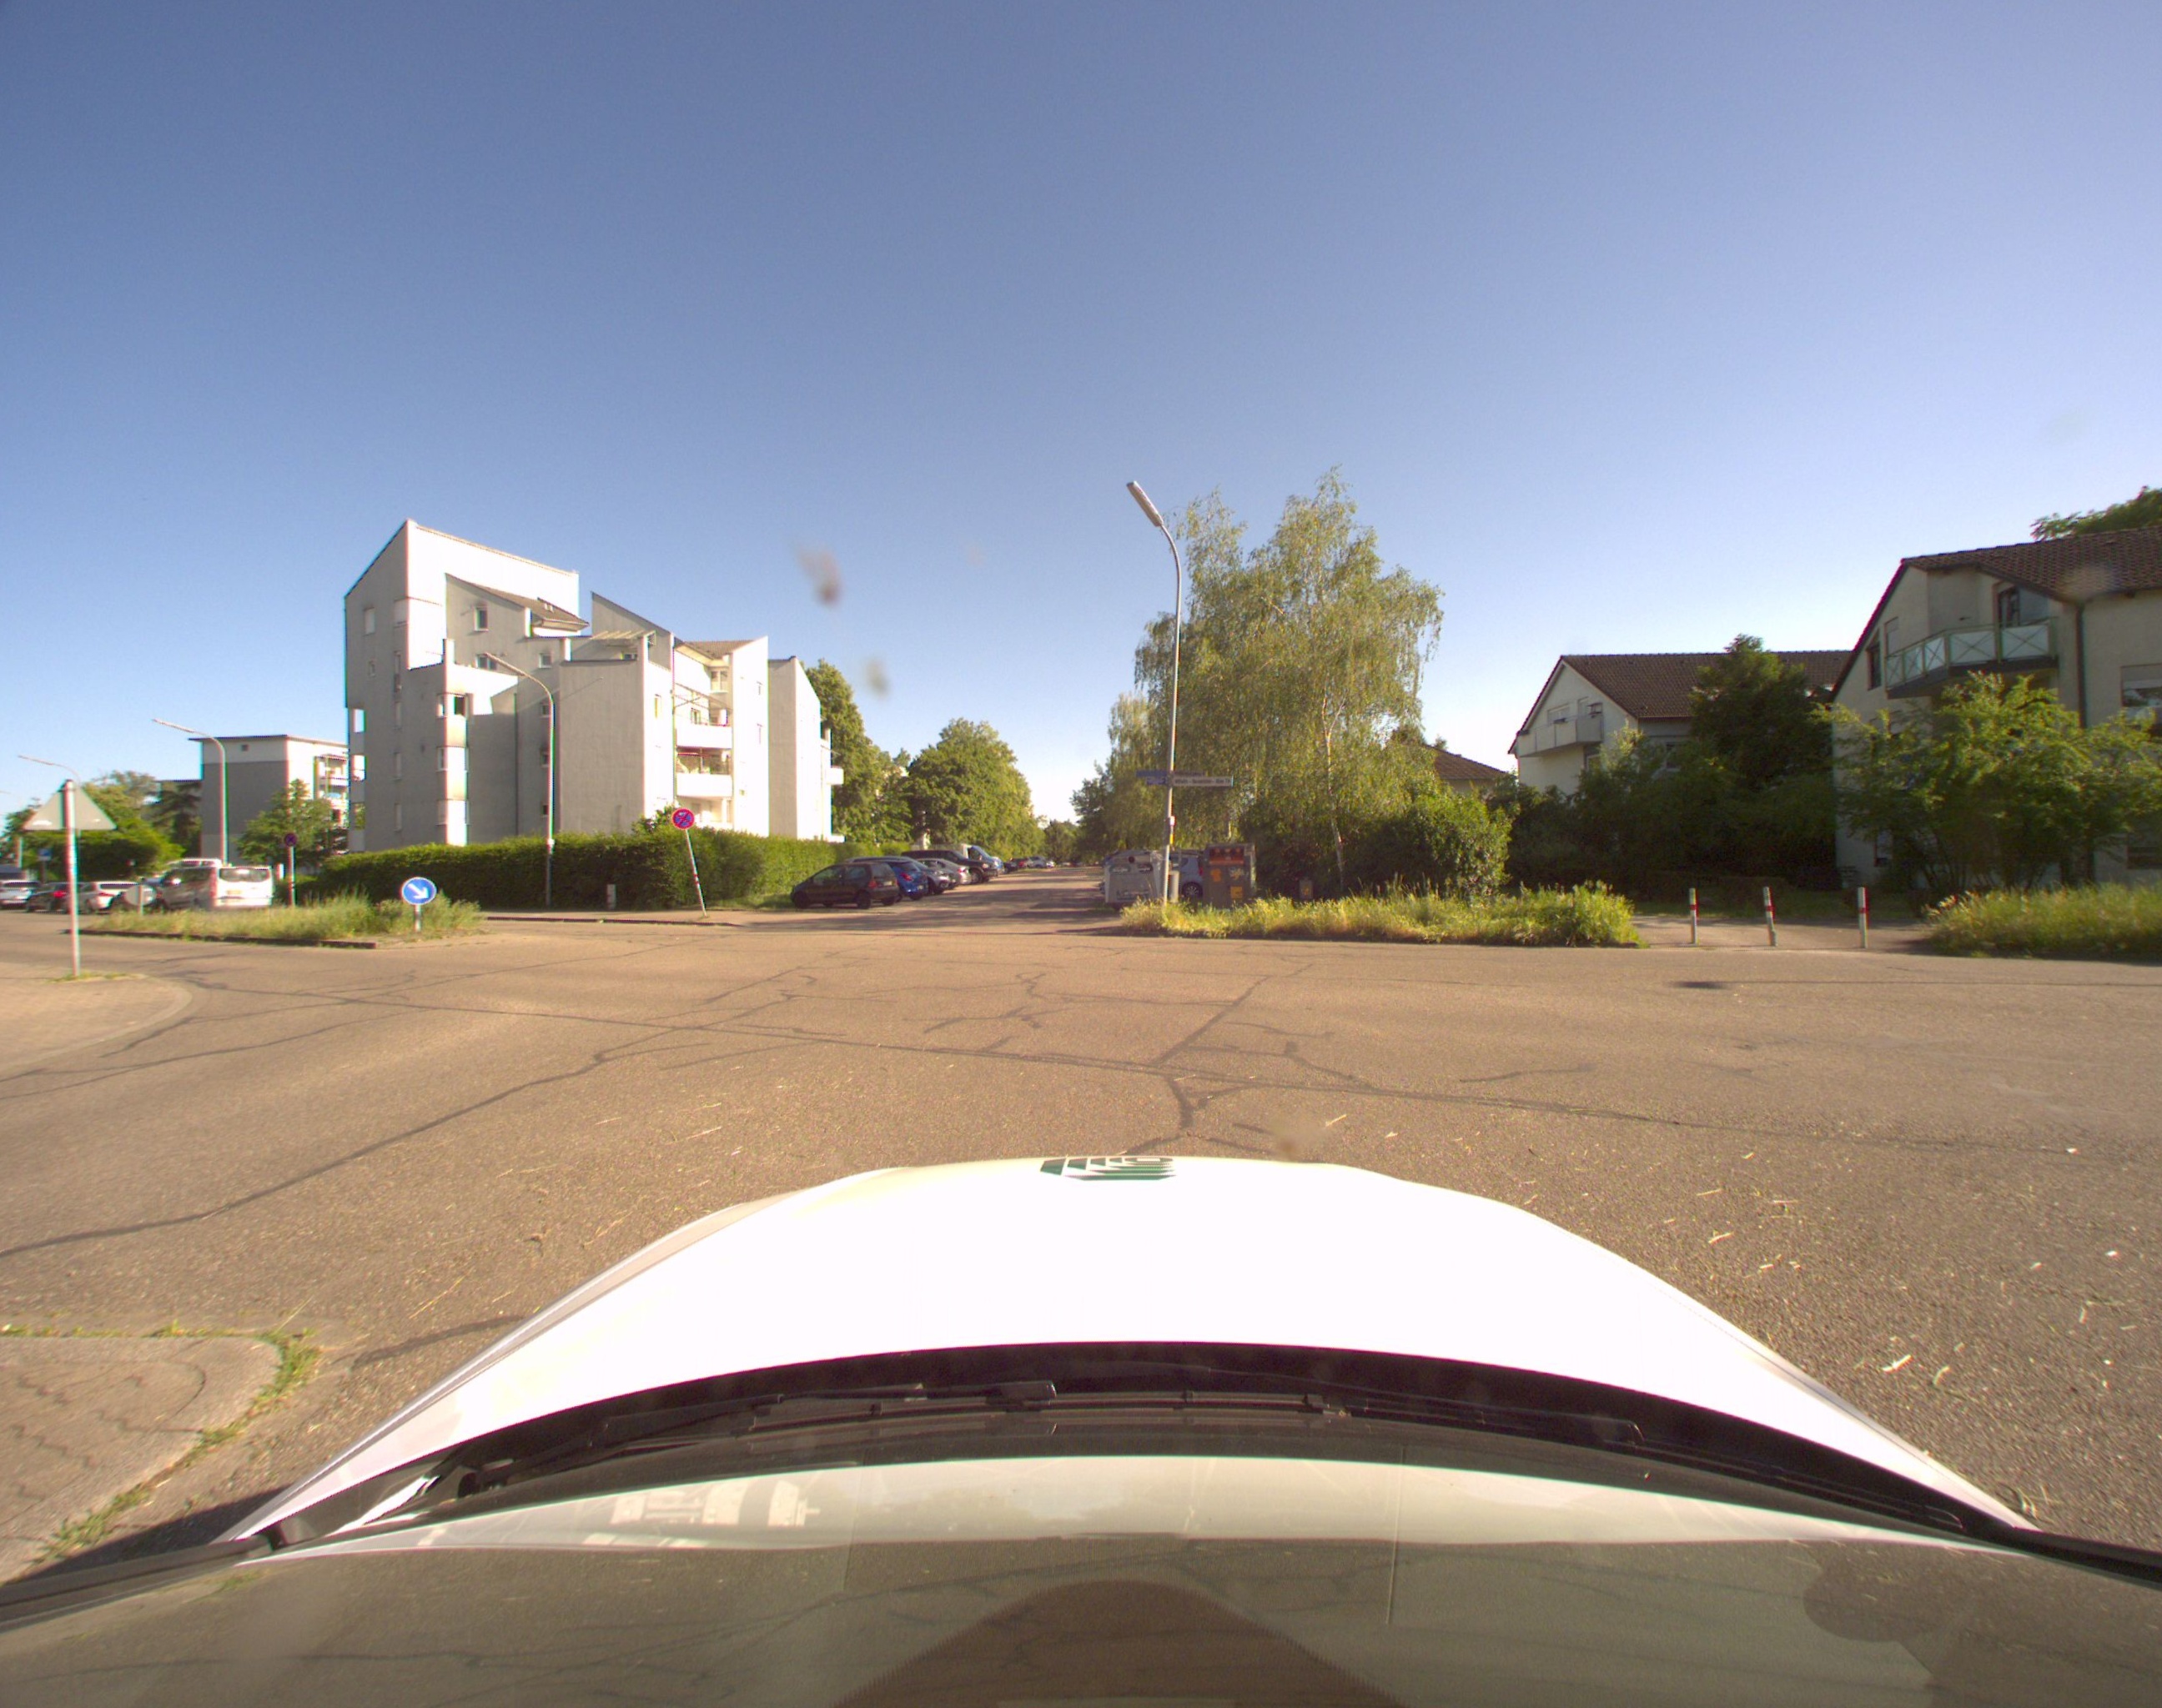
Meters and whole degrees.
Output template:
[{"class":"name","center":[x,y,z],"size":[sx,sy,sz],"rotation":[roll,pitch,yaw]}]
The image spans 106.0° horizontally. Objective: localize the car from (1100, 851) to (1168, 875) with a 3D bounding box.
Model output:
[{"class":"car","center":[3.149,0.542,48.296],"size":[3.968,1.401,1.800],"rotation":[0,-1,4]}]

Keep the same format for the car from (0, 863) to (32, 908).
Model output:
[{"class":"car","center":[-61.534,1.802,45.838],"size":[5.781,2.486,2.124],"rotation":[-2,-2,29]}]

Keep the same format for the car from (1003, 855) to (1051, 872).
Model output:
[{"class":"car","center":[-4.622,0.819,70.179],"size":[3.926,1.334,1.847],"rotation":[-1,0,1]}]

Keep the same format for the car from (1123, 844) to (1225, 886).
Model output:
[{"class":"car","center":[3.916,0.441,34.676],"size":[4.097,1.706,1.788],"rotation":[0,1,-5]}]

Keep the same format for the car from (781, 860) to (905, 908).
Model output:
[{"class":"car","center":[-7.733,0.952,26.510],"size":[3.494,1.466,1.712],"rotation":[-1,0,18]}]

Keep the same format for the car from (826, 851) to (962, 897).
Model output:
[{"class":"car","center":[-7.524,0.793,33.010],"size":[4.965,1.654,1.788],"rotation":[-2,0,7]}]

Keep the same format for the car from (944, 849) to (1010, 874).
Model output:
[{"class":"car","center":[-7.650,0.555,60.235],"size":[4.504,1.771,1.848],"rotation":[-1,0,2]}]

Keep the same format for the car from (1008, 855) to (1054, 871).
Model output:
[{"class":"car","center":[-4.484,0.810,73.289],"size":[3.926,1.334,1.847],"rotation":[-1,0,1]}]

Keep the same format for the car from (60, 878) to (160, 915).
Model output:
[{"class":"car","center":[-43.636,1.893,36.574],"size":[4.320,1.488,1.927],"rotation":[-2,-1,26]}]

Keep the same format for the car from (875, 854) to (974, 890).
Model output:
[{"class":"car","center":[-7.072,0.808,36.988],"size":[4.131,1.455,1.619],"rotation":[-2,0,-1]}]

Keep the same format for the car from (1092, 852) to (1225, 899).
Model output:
[{"class":"car","center":[2.520,0.664,26.256],"size":[4.023,1.439,1.641],"rotation":[0,0,14]}]

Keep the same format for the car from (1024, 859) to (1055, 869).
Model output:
[{"class":"car","center":[-5.635,1.351,110.889],"size":[3.926,1.334,1.847],"rotation":[-1,0,1]}]

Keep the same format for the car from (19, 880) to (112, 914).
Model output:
[{"class":"car","center":[-48.722,2.044,39.063],"size":[4.320,1.488,1.927],"rotation":[-2,-1,26]}]

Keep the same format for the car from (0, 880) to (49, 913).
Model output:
[{"class":"car","center":[-56.885,2.242,43.117],"size":[4.320,1.666,1.927],"rotation":[-2,-1,26]}]

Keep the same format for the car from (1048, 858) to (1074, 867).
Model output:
[{"class":"car","center":[-2.912,1.275,119.862],"size":[3.632,1.212,1.847],"rotation":[-1,0,1]}]

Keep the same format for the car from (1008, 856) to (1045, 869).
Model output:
[{"class":"car","center":[-6.061,0.908,90.825],"size":[3.926,1.334,1.847],"rotation":[-1,0,1]}]

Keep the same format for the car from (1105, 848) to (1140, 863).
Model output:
[{"class":"car","center":[4.764,0.198,93.621],"size":[3.968,1.708,1.800],"rotation":[0,-1,4]}]

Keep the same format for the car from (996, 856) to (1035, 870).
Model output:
[{"class":"car","center":[-6.987,0.948,87.466],"size":[3.926,1.334,1.847],"rotation":[-1,0,1]}]

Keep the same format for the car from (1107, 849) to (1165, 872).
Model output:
[{"class":"car","center":[3.854,0.451,56.613],"size":[3.968,1.585,1.800],"rotation":[0,-1,4]}]

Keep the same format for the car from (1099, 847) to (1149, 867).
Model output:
[{"class":"car","center":[3.459,0.223,65.071],"size":[3.968,1.585,1.800],"rotation":[0,-1,4]}]

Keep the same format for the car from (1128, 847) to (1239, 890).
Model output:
[{"class":"car","center":[3.937,0.537,31.733],"size":[4.044,1.603,1.789],"rotation":[0,1,-4]}]

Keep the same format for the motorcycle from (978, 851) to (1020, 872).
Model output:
[{"class":"motorcycle","center":[-6.493,0.578,64.392],"size":[3.178,1.596,0.924],"rotation":[-1,0,3]}]

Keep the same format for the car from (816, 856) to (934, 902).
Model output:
[{"class":"car","center":[-7.300,0.889,29.007],"size":[3.653,1.496,1.658],"rotation":[-2,0,14]}]

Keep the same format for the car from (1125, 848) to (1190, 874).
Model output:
[{"class":"car","center":[4.765,0.440,50.825],"size":[3.968,1.585,1.800],"rotation":[0,-1,4]}]

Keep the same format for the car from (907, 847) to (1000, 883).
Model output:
[{"class":"car","center":[-6.708,0.590,43.025],"size":[4.499,1.771,1.850],"rotation":[-1,0,6]}]

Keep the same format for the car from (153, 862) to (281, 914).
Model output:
[{"class":"car","center":[-34.258,1.334,32.265],"size":[4.892,1.912,2.011],"rotation":[-2,-1,25]}]

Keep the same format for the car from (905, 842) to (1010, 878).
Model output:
[{"class":"car","center":[-7.783,0.363,51.871],"size":[6.237,2.147,2.410],"rotation":[-1,0,-1]}]
